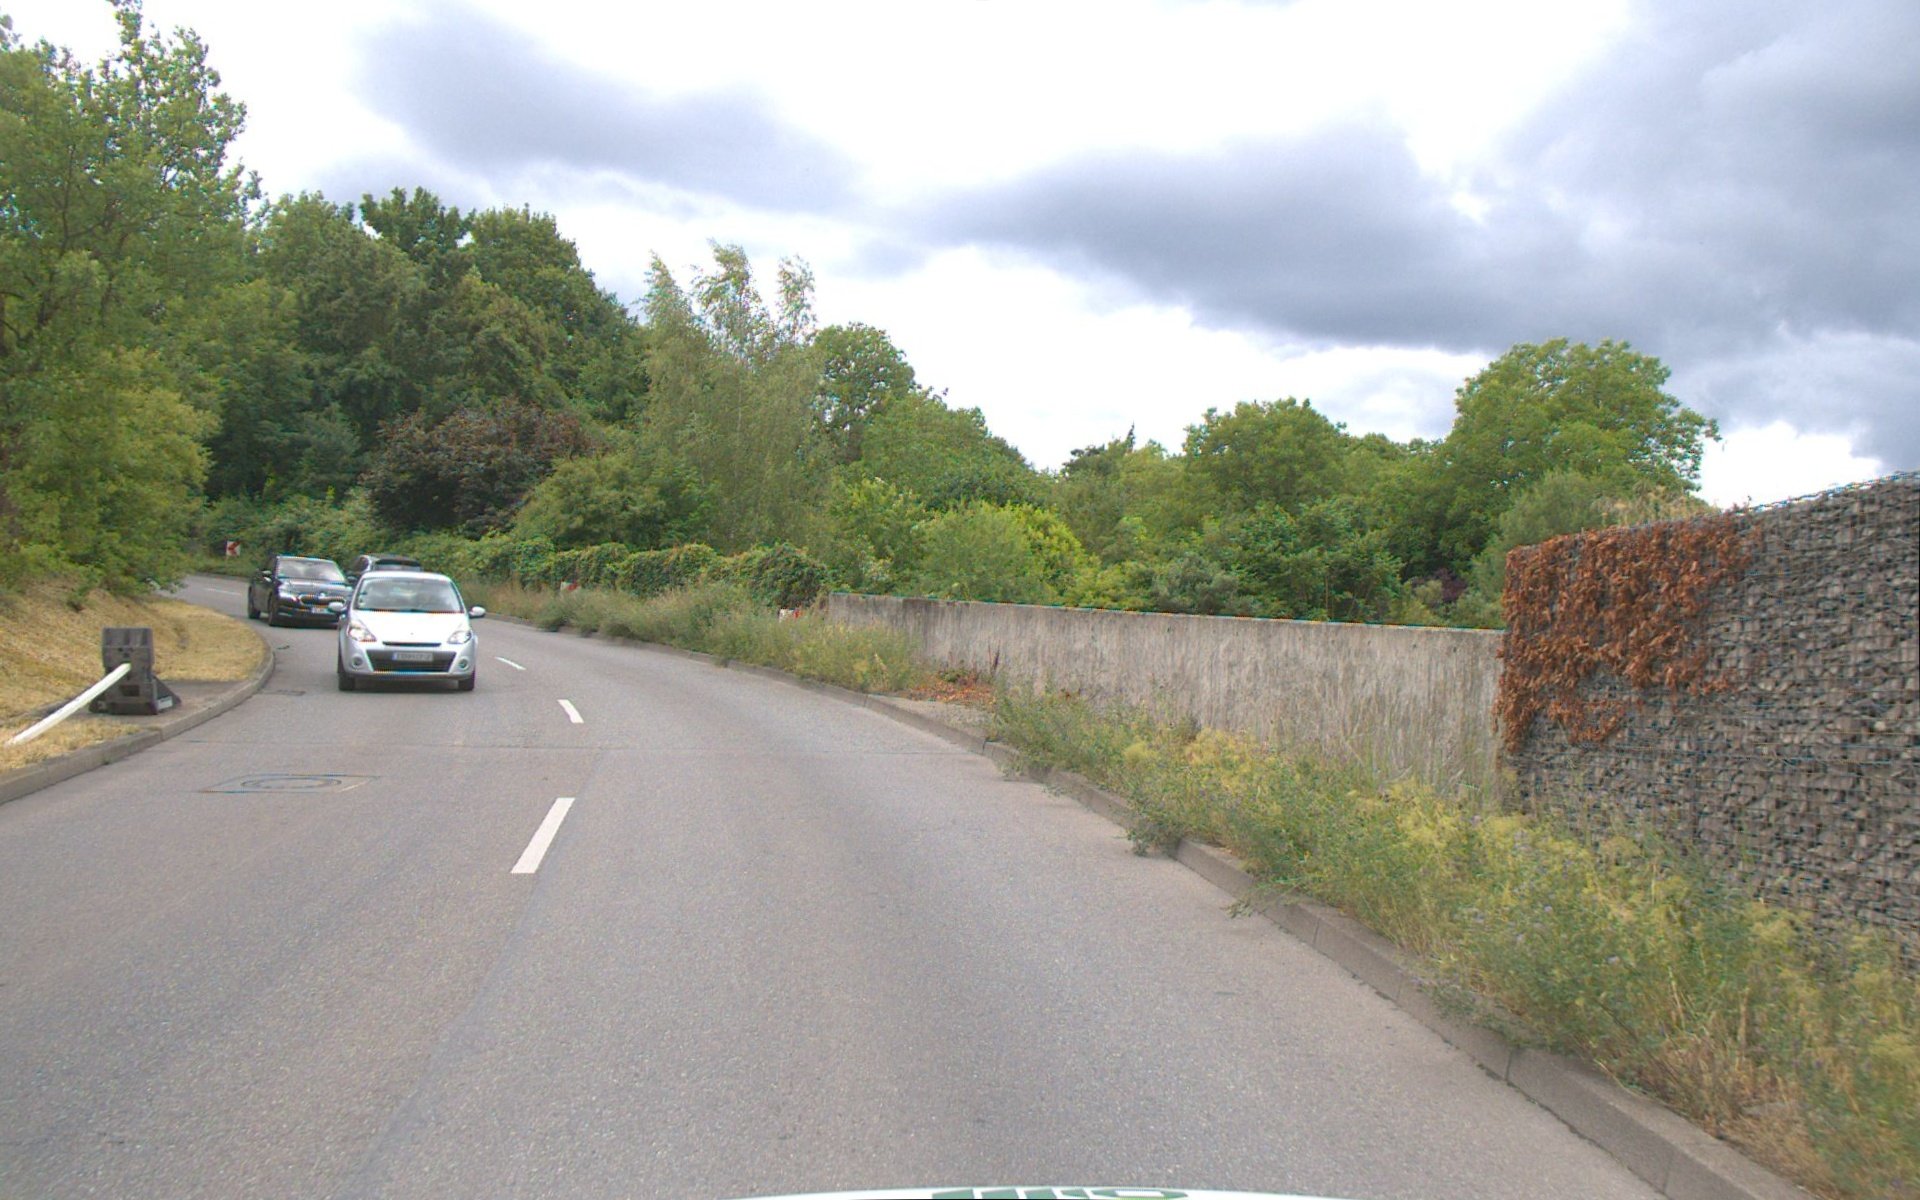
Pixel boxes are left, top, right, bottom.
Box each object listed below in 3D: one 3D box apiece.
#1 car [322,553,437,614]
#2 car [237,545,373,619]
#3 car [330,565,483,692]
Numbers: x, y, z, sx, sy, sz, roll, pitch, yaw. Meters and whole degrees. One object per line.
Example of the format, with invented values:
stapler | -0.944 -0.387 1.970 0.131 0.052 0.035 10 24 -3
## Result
car | -15.095 -0.440 42.910 1.825 1.509 3.950 0 1 -35
car | -14.400 -0.368 36.234 1.723 1.521 4.378 1 0 -36
car | -7.371 0.323 22.073 1.747 1.521 3.893 1 1 -19
